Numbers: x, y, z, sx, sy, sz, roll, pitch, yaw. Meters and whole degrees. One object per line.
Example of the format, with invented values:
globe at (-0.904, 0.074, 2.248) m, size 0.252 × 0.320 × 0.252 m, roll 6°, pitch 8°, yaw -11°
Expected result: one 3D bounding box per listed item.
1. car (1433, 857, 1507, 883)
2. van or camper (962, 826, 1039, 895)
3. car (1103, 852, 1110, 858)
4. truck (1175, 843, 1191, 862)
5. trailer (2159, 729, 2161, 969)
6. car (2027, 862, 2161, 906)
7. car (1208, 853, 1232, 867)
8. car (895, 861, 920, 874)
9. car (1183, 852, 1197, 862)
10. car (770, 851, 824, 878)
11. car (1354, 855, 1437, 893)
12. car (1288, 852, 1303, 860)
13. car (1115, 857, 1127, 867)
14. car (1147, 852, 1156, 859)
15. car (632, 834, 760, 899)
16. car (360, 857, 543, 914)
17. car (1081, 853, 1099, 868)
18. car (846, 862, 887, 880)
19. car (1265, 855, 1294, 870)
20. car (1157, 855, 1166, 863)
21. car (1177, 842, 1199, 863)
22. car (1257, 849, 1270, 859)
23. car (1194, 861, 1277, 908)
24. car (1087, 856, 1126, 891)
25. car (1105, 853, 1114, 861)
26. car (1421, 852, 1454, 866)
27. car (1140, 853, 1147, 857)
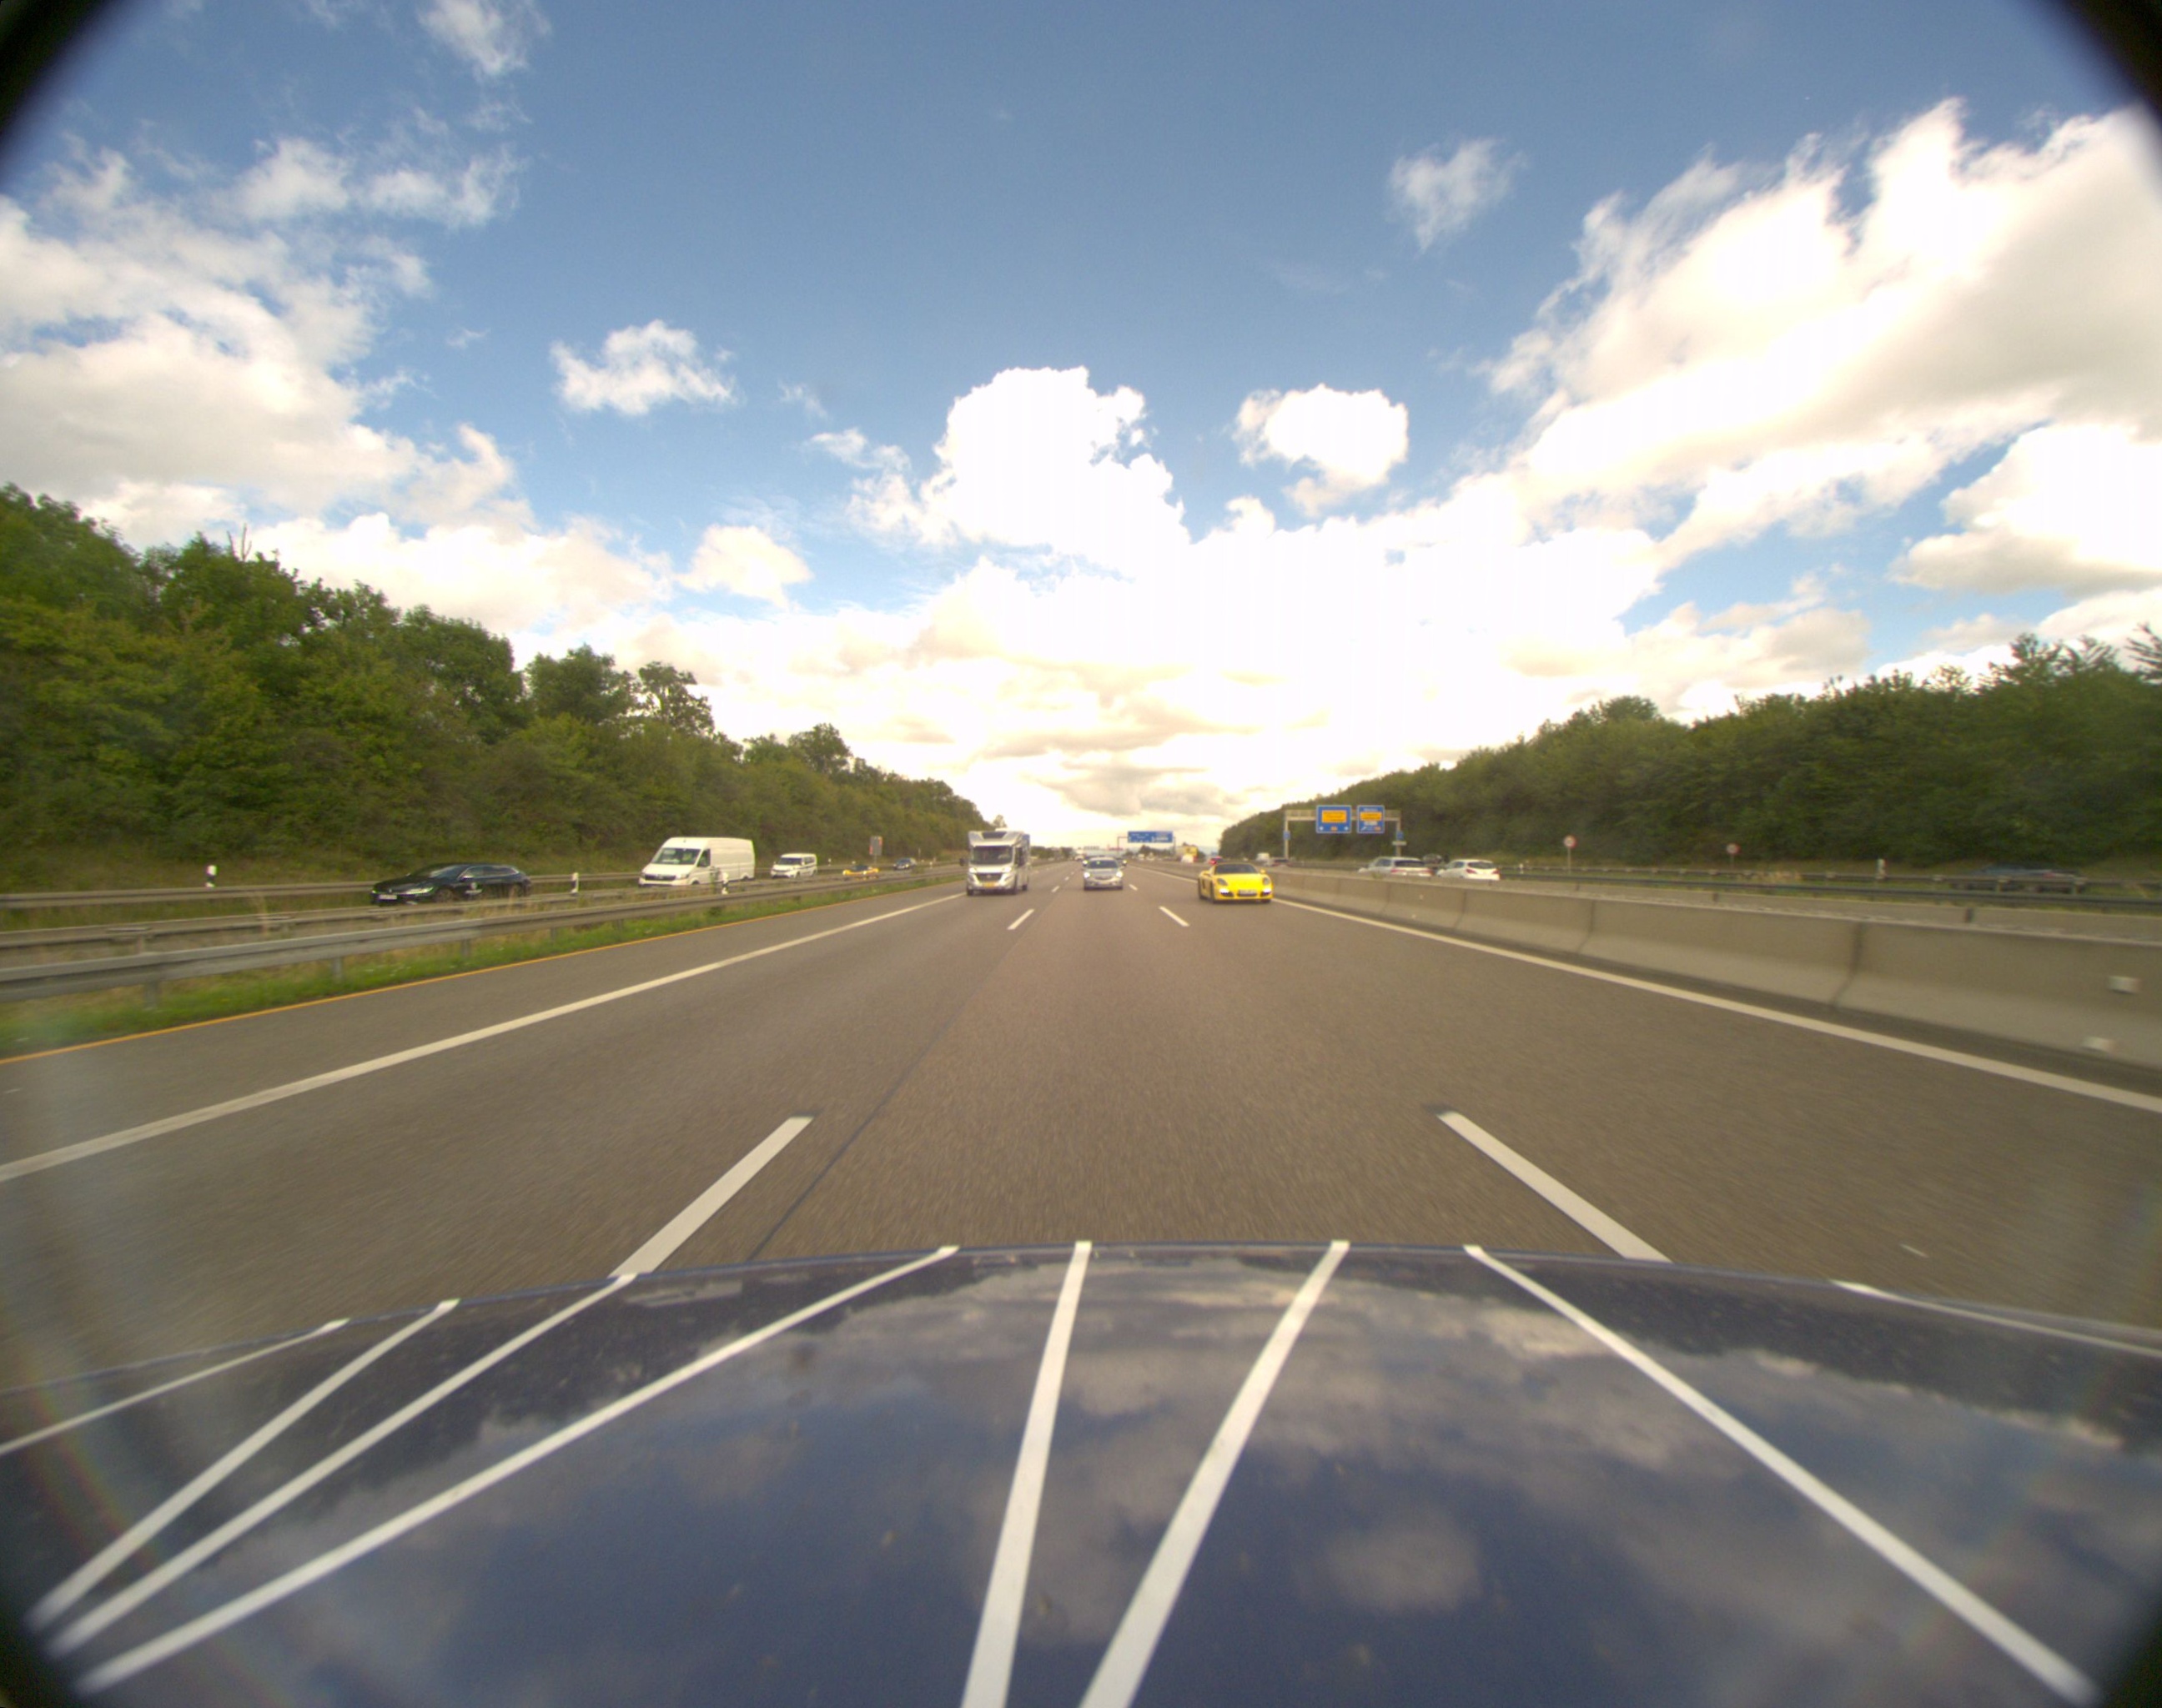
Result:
car at (19.779, 0.787, 38.828) m, size 1.659 × 1.186 × 4.130 m, roll 0°, pitch 0°, yaw 1°
van or camper at (-3.468, 0.263, 34.486) m, size 2.475 × 2.706 × 7.661 m, roll -2°, pitch 0°, yaw 1°
car at (7.851, 0.425, 235.166) m, size 1.998 × 1.846 × 4.286 m, roll -1°, pitch 0°, yaw 1°
truck at (23.367, -0.401, 174.429) m, size 2.903 × 4.298 × 5.162 m, roll 0°, pitch 0°, yaw 1°
trailer at (20.664, -0.086, 8.174) m, size 3.054 × 4.264 × 10.655 m, roll 0°, pitch 0°, yaw 0°
car at (40.567, 1.111, 29.687) m, size 1.733 × 1.525 × 4.452 m, roll -1°, pitch 0°, yaw 1°
car at (14.337, 0.605, 78.628) m, size 1.761 × 1.394 × 4.074 m, roll 0°, pitch 0°, yaw 1°
car at (-19.029, 1.465, 83.522) m, size 1.716 × 1.407 × 4.169 m, roll 0°, pitch 0°, yaw 1°
car at (18.775, 0.515, 131.469) m, size 1.738 × 1.784 × 5.124 m, roll 0°, pitch 0°, yaw 0°
car at (-19.652, 0.703, 52.876) m, size 1.848 × 1.741 × 4.764 m, roll -1°, pitch 0°, yaw 1°
car at (13.381, 0.804, 32.613) m, size 1.692 × 1.496 × 4.643 m, roll 0°, pitch 0°, yaw 1°
car at (43.916, 0.363, 155.734) m, size 1.851 × 1.652 × 4.419 m, roll 0°, pitch 0°, yaw 1°
car at (5.830, 1.184, 110.858) m, size 1.593 × 1.307 × 3.978 m, roll 1°, pitch 0°, yaw 1°
car at (15.879, 0.312, 171.729) m, size 1.670 × 1.393 × 4.534 m, roll 0°, pitch 0°, yaw 1°
car at (-16.399, 0.507, 32.923) m, size 2.075 × 2.539 × 6.743 m, roll 0°, pitch 0°, yaw 1°
car at (-19.868, 0.930, 24.321) m, size 1.848 × 1.593 × 4.764 m, roll 1°, pitch 0°, yaw 0°
car at (1.048, 0.732, 87.034) m, size 1.876 × 1.626 × 4.859 m, roll -1°, pitch 0°, yaw 1°
car at (-15.523, 1.222, 55.088) m, size 1.716 × 1.175 × 4.169 m, roll -1°, pitch 0°, yaw 1°
car at (17.776, 0.747, 68.310) m, size 1.584 × 1.276 × 4.241 m, roll 0°, pitch 0°, yaw 1°
car at (19.952, 1.175, 188.349) m, size 1.757 × 2.002 × 4.553 m, roll -2°, pitch 0°, yaw 1°
car at (23.283, -0.346, 166.058) m, size 2.913 × 4.300 × 14.145 m, roll 0°, pitch 0°, yaw 1°
car at (44.156, -0.022, 183.995) m, size 1.998 × 2.221 × 5.891 m, roll 0°, pitch 0°, yaw 2°
car at (4.815, 0.908, 24.231) m, size 1.811 × 1.307 × 4.247 m, roll 1°, pitch 0°, yaw 1°
car at (1.123, 0.846, 35.396) m, size 1.687 × 1.476 × 4.616 m, roll -1°, pitch 0°, yaw 0°
car at (7.098, 0.655, 188.554) m, size 1.998 × 2.002 × 4.589 m, roll 0°, pitch 0°, yaw 1°
car at (42.502, 0.600, 90.621) m, size 1.886 × 1.652 × 4.419 m, roll 0°, pitch 0°, yaw 1°
car at (20.904, 0.383, 253.794) m, size 1.775 × 1.287 × 4.675 m, roll -1°, pitch 0°, yaw 1°
